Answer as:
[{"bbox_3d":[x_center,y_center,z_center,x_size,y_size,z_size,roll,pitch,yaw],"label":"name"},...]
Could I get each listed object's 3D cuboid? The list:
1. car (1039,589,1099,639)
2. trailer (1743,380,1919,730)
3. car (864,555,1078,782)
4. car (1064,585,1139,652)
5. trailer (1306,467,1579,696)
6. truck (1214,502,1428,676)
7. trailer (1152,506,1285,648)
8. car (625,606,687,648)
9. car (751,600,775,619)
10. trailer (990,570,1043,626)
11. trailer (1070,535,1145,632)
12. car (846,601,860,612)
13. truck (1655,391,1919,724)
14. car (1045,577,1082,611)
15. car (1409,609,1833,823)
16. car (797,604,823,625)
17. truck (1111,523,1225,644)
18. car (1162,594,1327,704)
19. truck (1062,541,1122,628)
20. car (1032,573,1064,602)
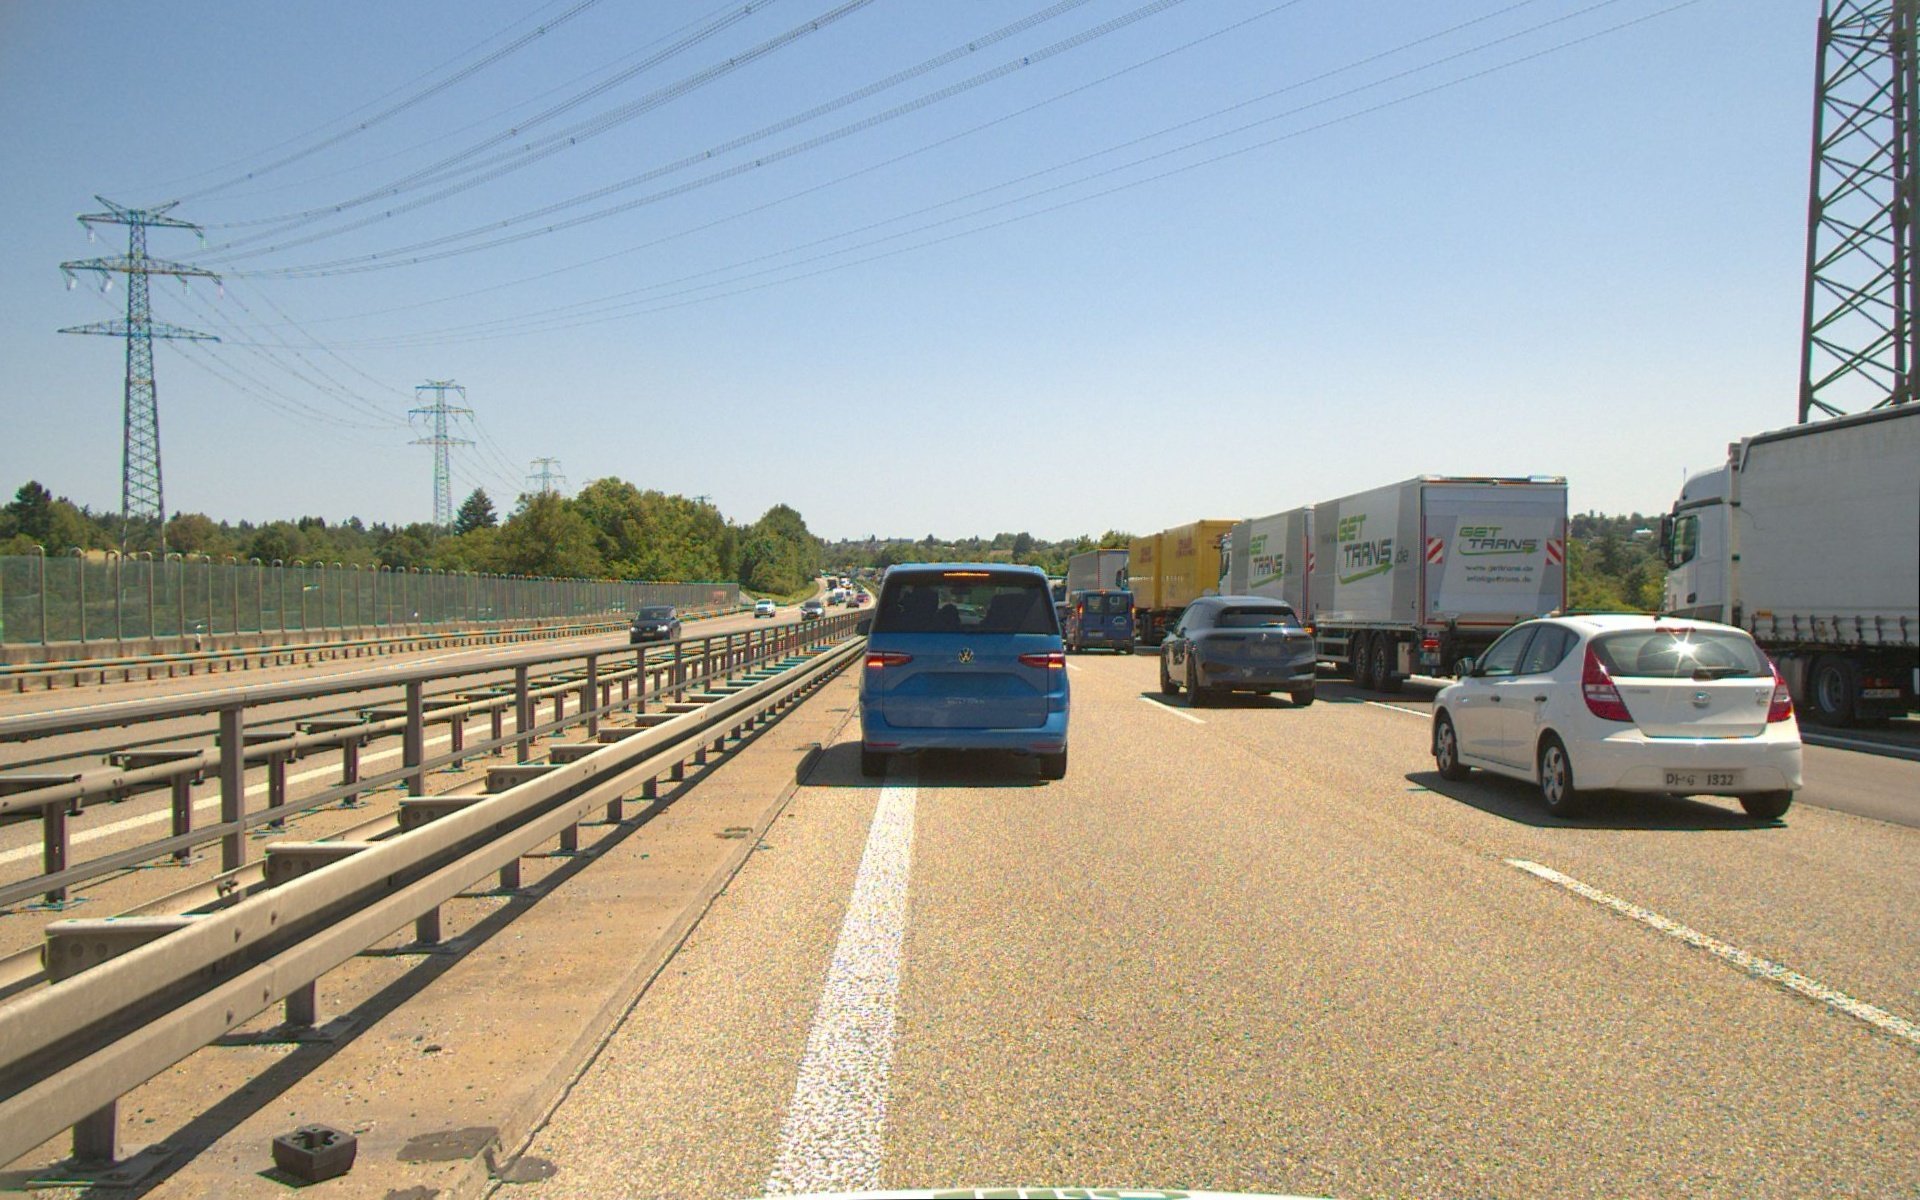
[{"bbox_3d":[4.111,0.520,63.019,1.953,1.847,3.999,0,0,-1],"label":"car"},{"bbox_3d":[12.927,-0.532,17.511,2.660,4.214,13.421,1,0,-1],"label":"trailer"},{"bbox_3d":[0.060,0.587,15.997,1.783,1.890,4.074,1,0,-1],"label":"car"},{"bbox_3d":[4.446,0.556,52.409,1.922,2.028,4.292,0,0,-1],"label":"car"},{"bbox_3d":[8.786,-0.305,31.254,2.643,3.765,8.012,0,0,-2],"label":"trailer"},{"bbox_3d":[8.554,-0.238,40.774,2.603,3.712,11.007,0,0,-2],"label":"truck"},{"bbox_3d":[8.453,-0.664,55.195,2.806,4.313,9.009,1,0,-1],"label":"trailer"},{"bbox_3d":[-13.083,1.139,71.463,1.953,1.701,4.184,-2,0,-2],"label":"car"},{"bbox_3d":[-19.967,0.921,167.989,1.953,1.918,5.254,0,0,-2],"label":"car"},{"bbox_3d":[3.218,-0.074,96.025,2.517,3.043,10.660,1,0,-1],"label":"trailer"},{"bbox_3d":[7.394,-0.769,84.367,2.583,4.595,11.298,1,0,-1],"label":"trailer"},{"bbox_3d":[-14.196,0.870,219.502,1.565,1.341,4.340,-2,0,-2],"label":"car"},{"bbox_3d":[12.800,-0.505,24.094,2.638,4.214,6.157,1,-1,-1],"label":"truck"},{"bbox_3d":[6.407,-0.370,102.572,1.953,2.049,3.999,1,-1,-1],"label":"car"},{"bbox_3d":[5.243,0.823,13.793,1.752,1.481,4.292,0,0,-1],"label":"car"},{"bbox_3d":[-12.225,1.190,134.686,1.769,1.656,4.476,1,0,-1],"label":"car"},{"bbox_3d":[8.013,-0.572,65.238,2.779,4.317,11.007,1,0,-1],"label":"truck"},{"bbox_3d":[4.602,0.746,27.365,1.922,1.673,4.292,0,0,-1],"label":"car"},{"bbox_3d":[7.233,-0.806,91.496,2.613,4.563,6.848,1,-1,-1],"label":"truck"},{"bbox_3d":[6.382,-0.893,120.411,1.953,2.049,4.460,-1,0,-1],"label":"car"}]
